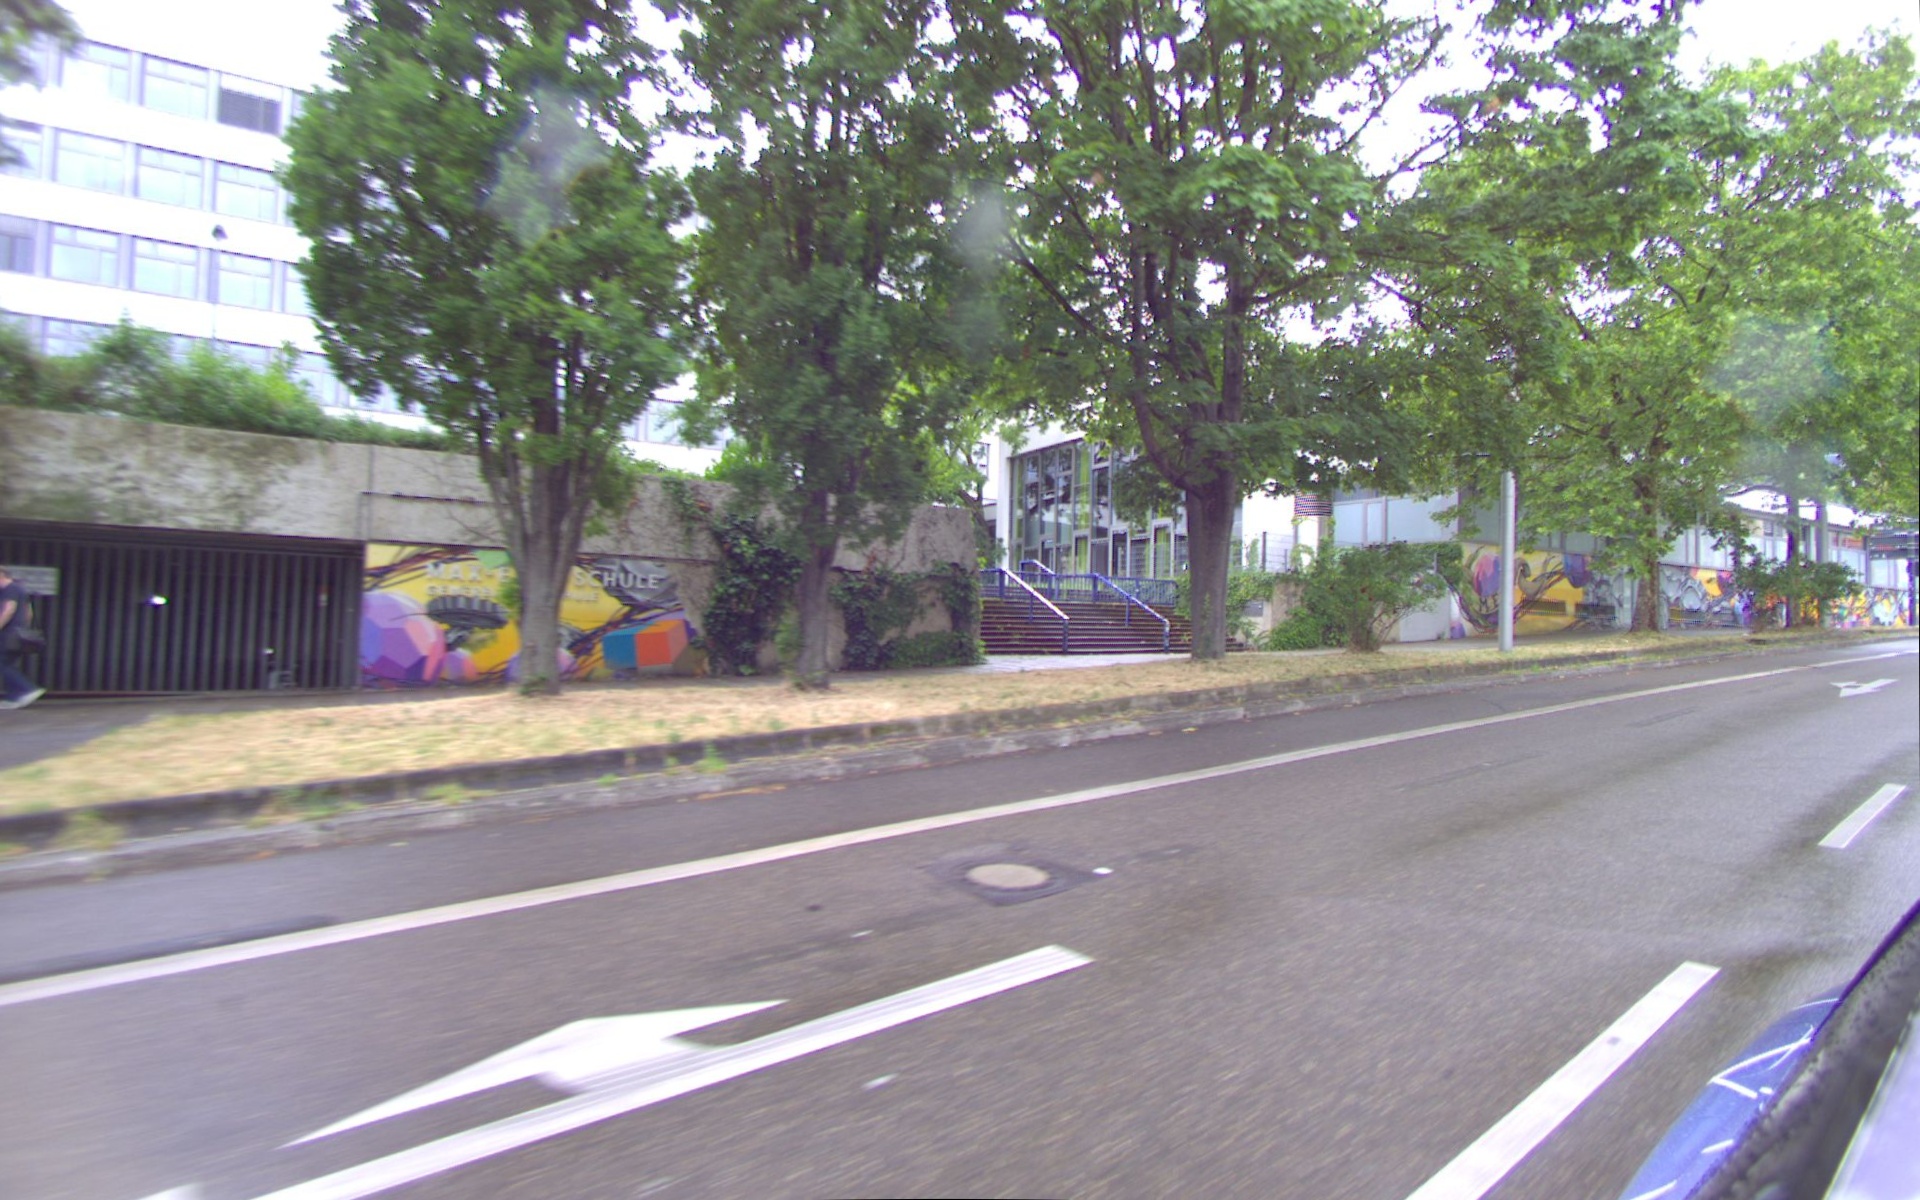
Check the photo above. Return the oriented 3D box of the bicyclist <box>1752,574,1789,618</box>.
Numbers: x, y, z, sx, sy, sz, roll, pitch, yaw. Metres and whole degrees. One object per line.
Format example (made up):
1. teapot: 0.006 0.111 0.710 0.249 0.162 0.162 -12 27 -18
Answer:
1. bicyclist: 30.829 -0.155 38.511 1.026 1.648 0.809 0 0 -33

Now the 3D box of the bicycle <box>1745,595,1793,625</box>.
1. bicycle: 30.768 0.367 38.467 2.156 1.126 0.809 0 0 -34

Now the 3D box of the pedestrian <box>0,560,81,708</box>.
1. pedestrian: -12.313 0.428 13.285 1.035 1.888 0.810 0 0 -31
